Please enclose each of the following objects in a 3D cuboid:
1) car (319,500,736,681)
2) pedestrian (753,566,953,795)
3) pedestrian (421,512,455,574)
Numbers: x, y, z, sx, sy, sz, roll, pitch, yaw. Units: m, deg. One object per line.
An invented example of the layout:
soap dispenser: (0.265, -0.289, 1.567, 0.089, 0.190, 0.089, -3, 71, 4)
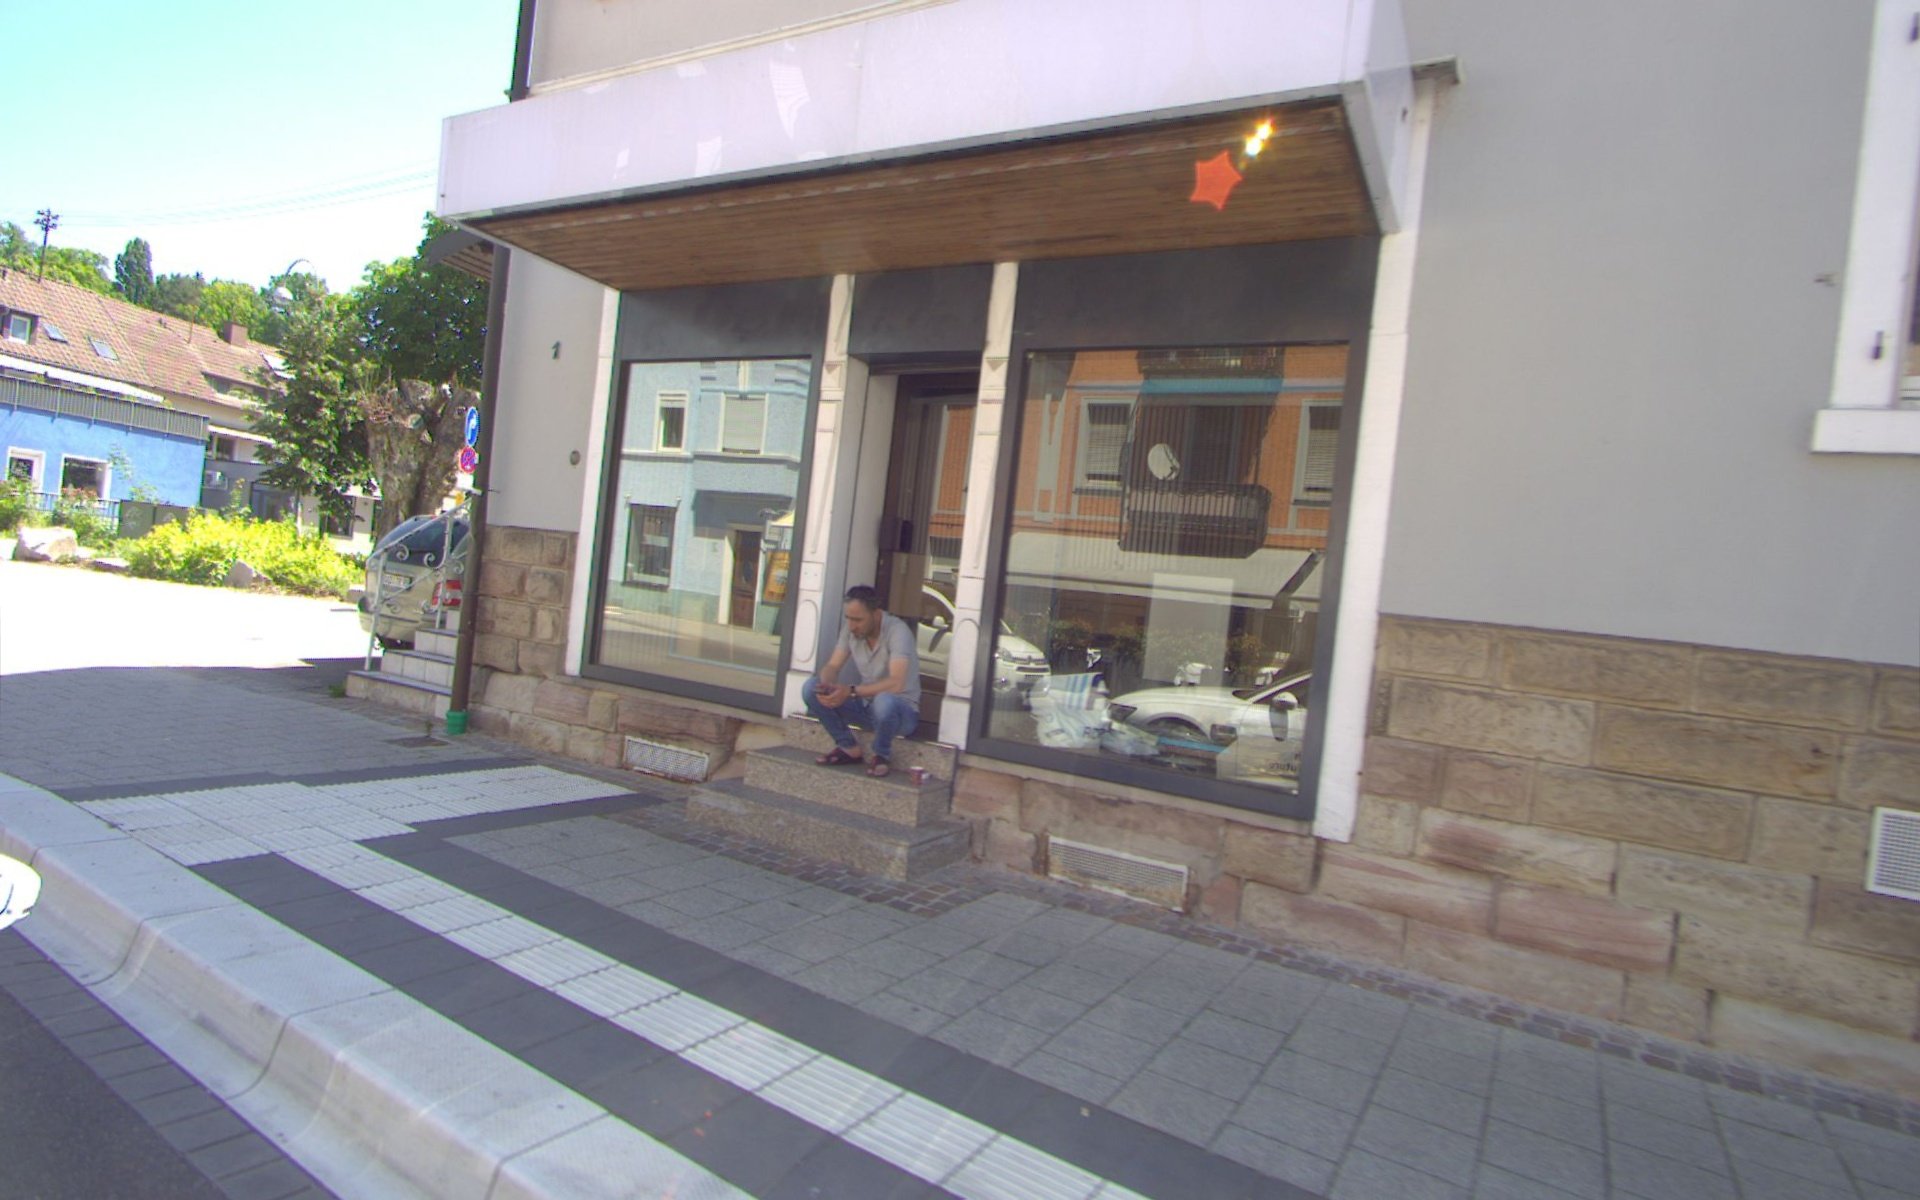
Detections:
car: (-4.714, -0.059, 11.564, 1.772, 1.616, 4.063, 6, 1, 31)
pedestrian: (-0.537, 0.382, 5.117, 0.711, 1.012, 0.590, 7, 2, 29)
pedestrian: (-16.074, -1.753, 31.001, 0.731, 1.824, 0.673, 4, 3, -35)
